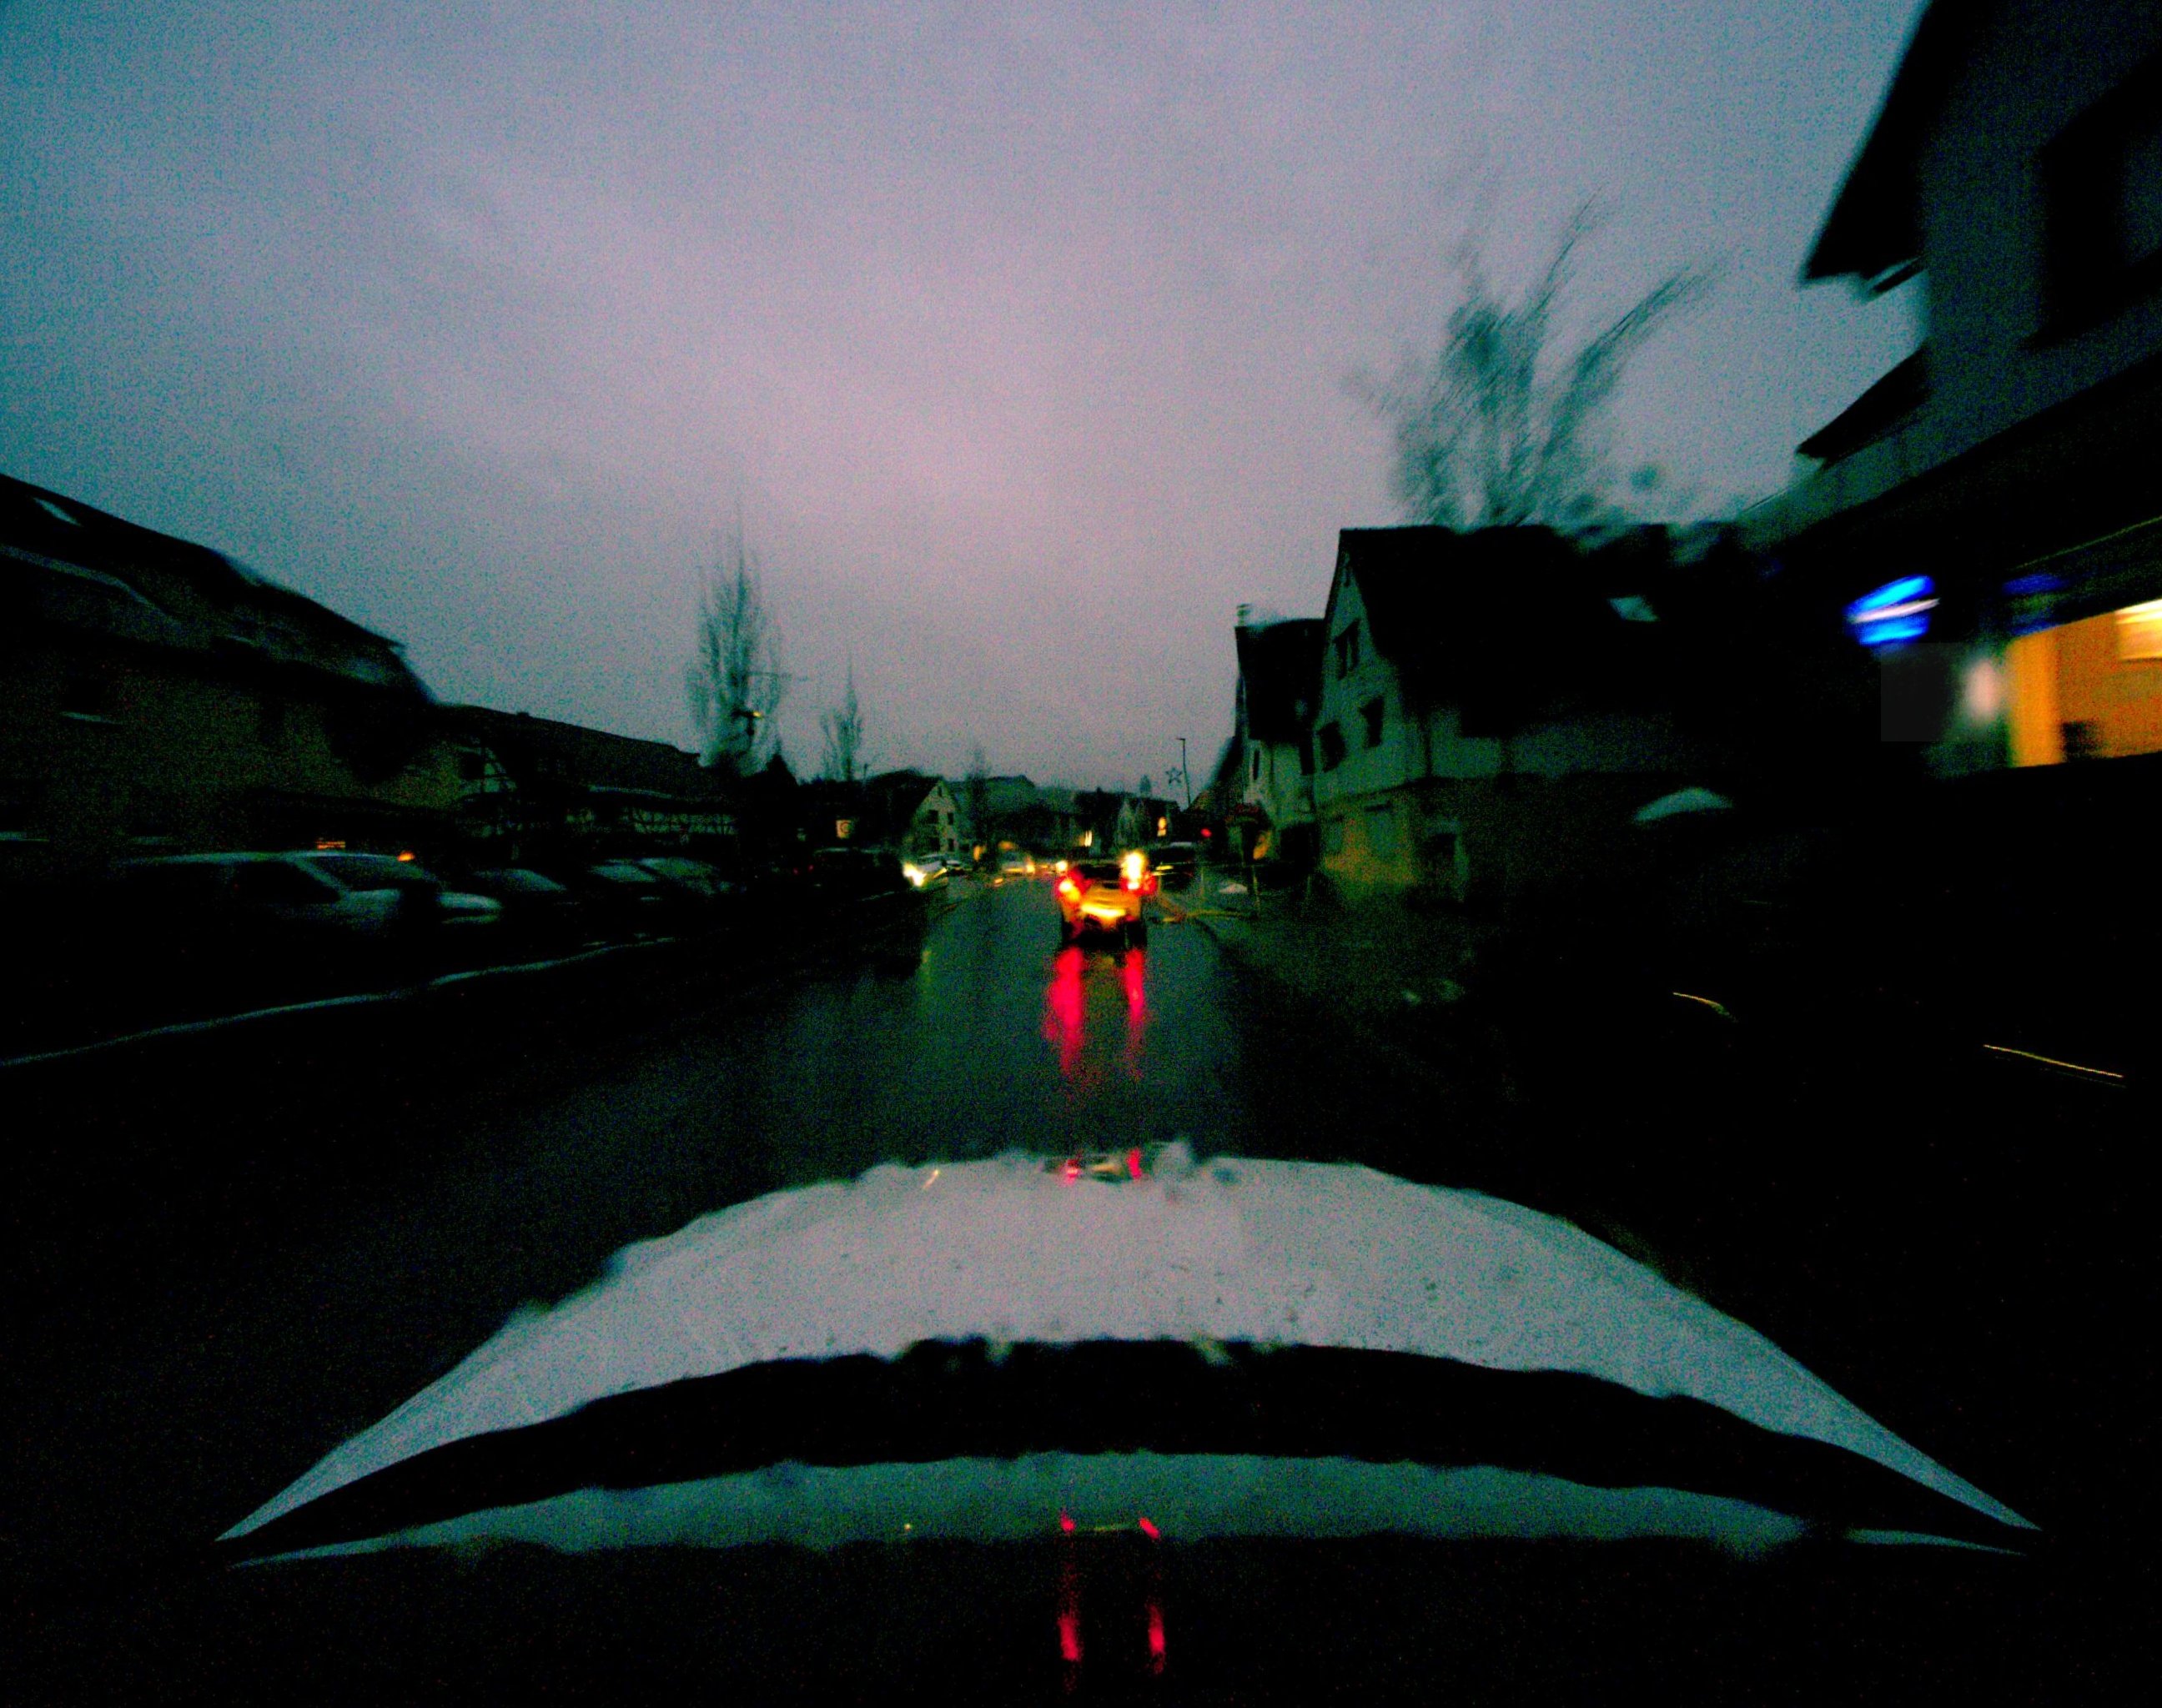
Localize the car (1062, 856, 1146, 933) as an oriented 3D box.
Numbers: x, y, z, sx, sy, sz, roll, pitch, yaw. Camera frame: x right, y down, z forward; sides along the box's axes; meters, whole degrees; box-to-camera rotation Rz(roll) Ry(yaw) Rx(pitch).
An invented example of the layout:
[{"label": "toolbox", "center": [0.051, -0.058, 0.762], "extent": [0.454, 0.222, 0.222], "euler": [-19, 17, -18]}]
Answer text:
[{"label": "car", "center": [0.454, 0.753, 16.552], "extent": [1.557, 1.412, 3.018], "euler": [0, 0, 1]}]

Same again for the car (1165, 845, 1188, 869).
[{"label": "car", "center": [8.245, 0.288, 69.781], "extent": [1.860, 1.835, 4.452], "euler": [0, -3, 8]}]

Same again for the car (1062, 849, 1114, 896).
[{"label": "car", "center": [0.317, 0.659, 30.310], "extent": [1.759, 1.628, 3.588], "euler": [0, 0, 3]}]

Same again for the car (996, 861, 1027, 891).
[{"label": "car", "center": [-4.839, 1.605, 57.440], "extent": [1.914, 2.028, 3.972], "euler": [0, -3, -1]}]

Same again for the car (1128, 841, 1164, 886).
[{"label": "car", "center": [3.706, 0.591, 46.998], "extent": [1.863, 2.469, 4.445], "euler": [0, -3, 2]}]

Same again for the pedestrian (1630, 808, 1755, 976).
[{"label": "pedestrian", "center": [5.837, 0.339, 7.803], "extent": [0.619, 1.515, 0.731], "euler": [-1, 1, -13]}]

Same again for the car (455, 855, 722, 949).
[{"label": "car", "center": [-9.308, 0.888, 15.580], "extent": [4.147, 1.644, 1.660], "euler": [-1, -1, 5]}]

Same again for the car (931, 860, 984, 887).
[{"label": "car", "center": [-9.360, 1.495, 61.499], "extent": [4.117, 1.976, 1.833], "euler": [-3, -4, 45]}]

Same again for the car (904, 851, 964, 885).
[{"label": "car", "center": [-10.397, 1.040, 57.429], "extent": [4.331, 2.252, 2.011], "euler": [-3, -4, 45]}]

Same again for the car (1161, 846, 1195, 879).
[{"label": "car", "center": [6.355, 0.618, 53.880], "extent": [1.863, 1.999, 4.445], "euler": [0, -3, 2]}]

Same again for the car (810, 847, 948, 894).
[{"label": "car", "center": [-8.362, 0.650, 33.766], "extent": [5.357, 1.817, 1.718], "euler": [0, -1, 14]}]

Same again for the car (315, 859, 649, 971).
[{"label": "car", "center": [-9.400, 0.927, 12.972], "extent": [4.178, 1.652, 1.682], "euler": [-1, -1, 5]}]

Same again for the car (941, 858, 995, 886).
[{"label": "car", "center": [-8.903, 1.459, 64.153], "extent": [4.331, 2.167, 2.011], "euler": [-3, -4, 45]}]

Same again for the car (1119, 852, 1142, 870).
[{"label": "car", "center": [4.541, 0.641, 74.325], "extent": [1.476, 1.527, 3.427], "euler": [-1, -3, 15]}]

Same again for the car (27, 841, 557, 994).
[{"label": "car", "center": [-9.603, 0.732, 10.278], "extent": [4.613, 1.667, 1.998], "euler": [-1, -1, -2]}]

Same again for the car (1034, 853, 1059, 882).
[{"label": "car", "center": [-2.710, 1.128, 65.335], "extent": [1.914, 2.216, 3.972], "euler": [0, -3, -1]}]

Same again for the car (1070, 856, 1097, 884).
[{"label": "car", "center": [0.251, 1.301, 63.911], "extent": [1.986, 2.112, 4.001], "euler": [0, -3, 2]}]

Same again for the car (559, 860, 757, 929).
[{"label": "car", "center": [-9.352, 0.874, 18.179], "extent": [3.528, 1.447, 1.712], "euler": [0, -1, 5]}]

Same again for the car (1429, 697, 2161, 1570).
[{"label": "car", "center": [2.949, 0.530, 2.662], "extent": [1.730, 1.692, 4.385], "euler": [-2, -1, 0]}]

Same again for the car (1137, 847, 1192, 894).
[{"label": "car", "center": [3.467, 0.690, 34.558], "extent": [1.990, 1.865, 4.084], "euler": [-1, -1, 1]}]

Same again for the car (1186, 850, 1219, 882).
[{"label": "car", "center": [8.804, 0.898, 59.373], "extent": [1.985, 2.249, 4.002], "euler": [0, -3, 3]}]
